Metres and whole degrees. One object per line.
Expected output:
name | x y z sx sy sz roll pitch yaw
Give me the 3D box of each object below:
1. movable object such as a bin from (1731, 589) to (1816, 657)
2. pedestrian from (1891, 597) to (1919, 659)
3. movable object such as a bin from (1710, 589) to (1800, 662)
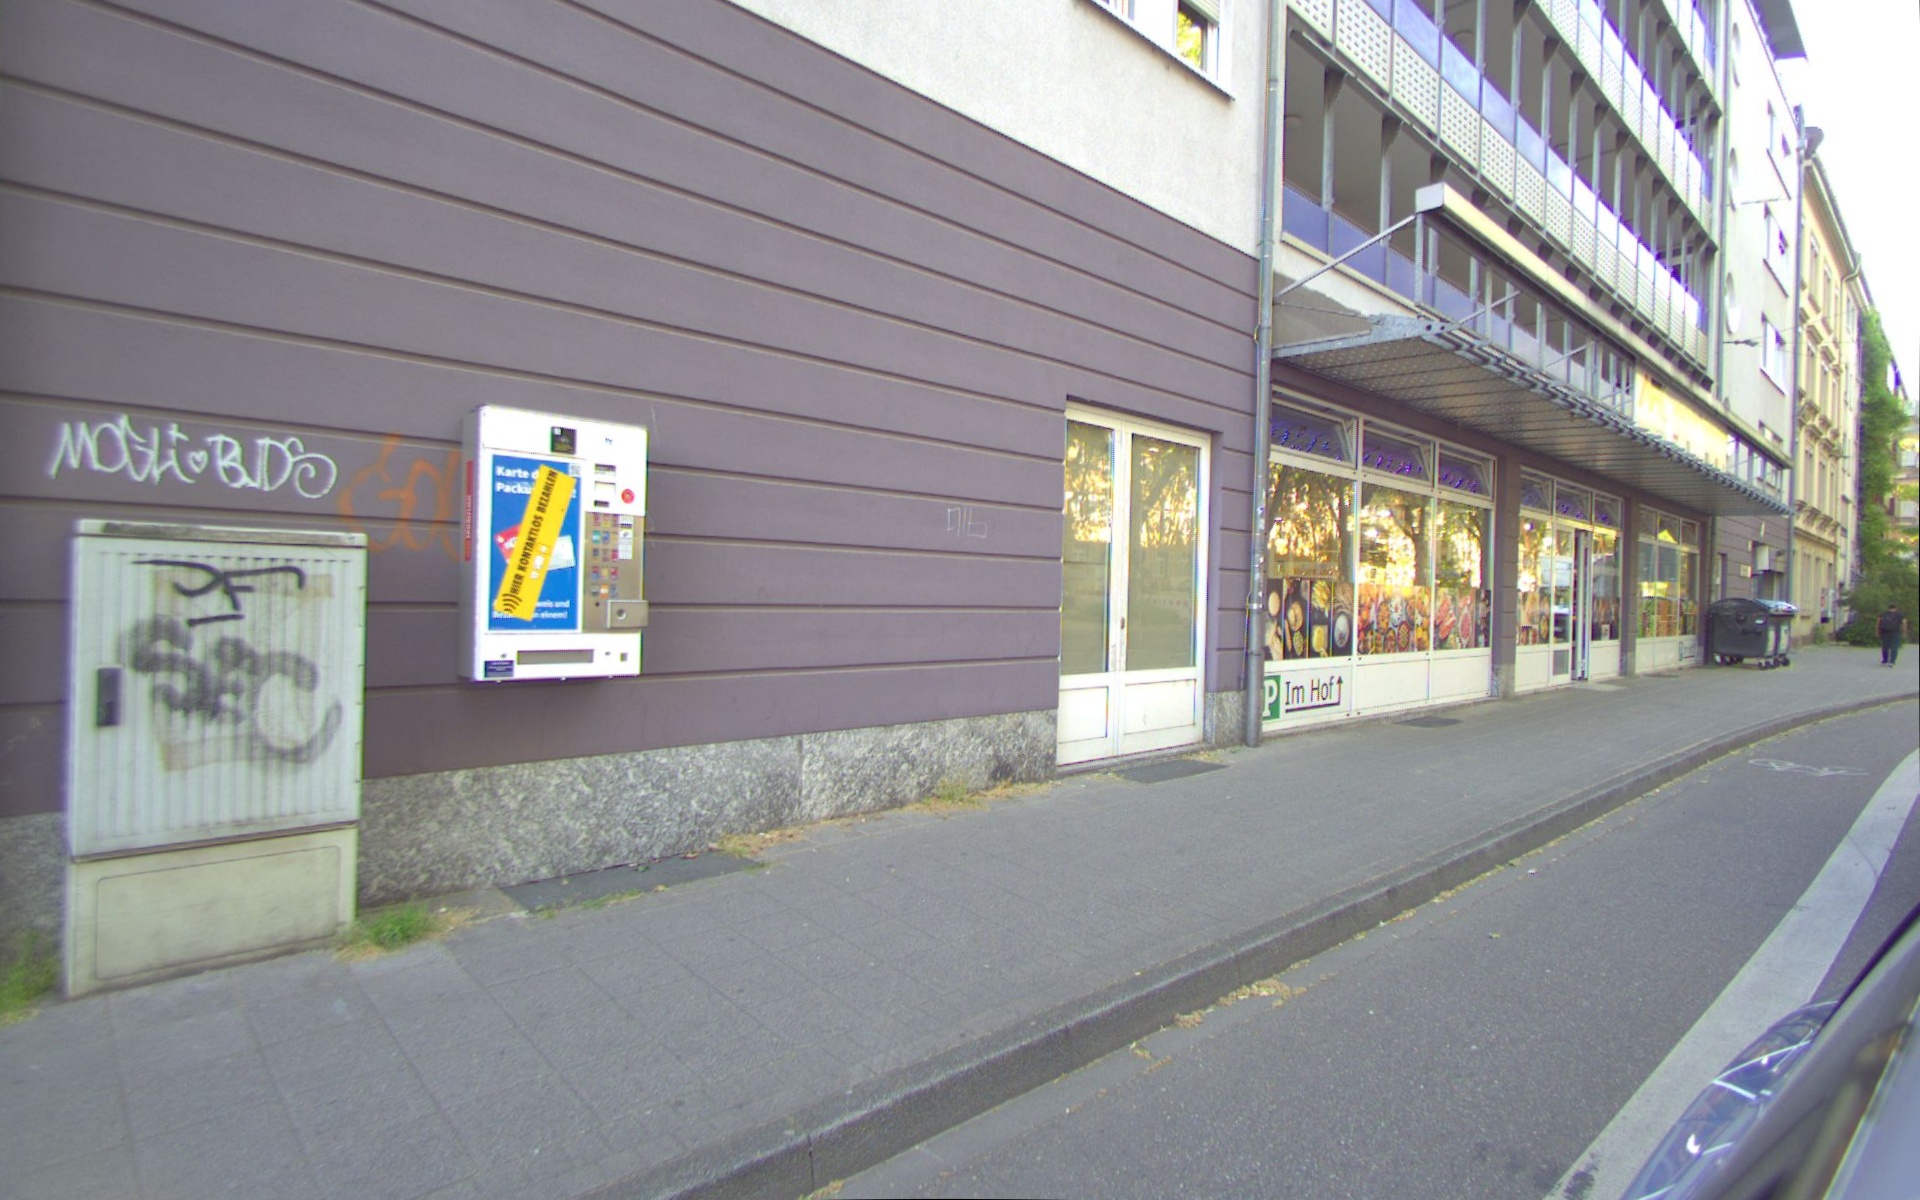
movable object such as a bin | 17.869 0.485 22.234 1.348 1.427 1.203 1 1 -41
pedestrian | 22.908 0.667 24.435 0.619 1.463 0.540 1 1 -41
movable object such as a bin | 16.420 0.506 20.905 1.348 1.427 1.203 1 1 -41
